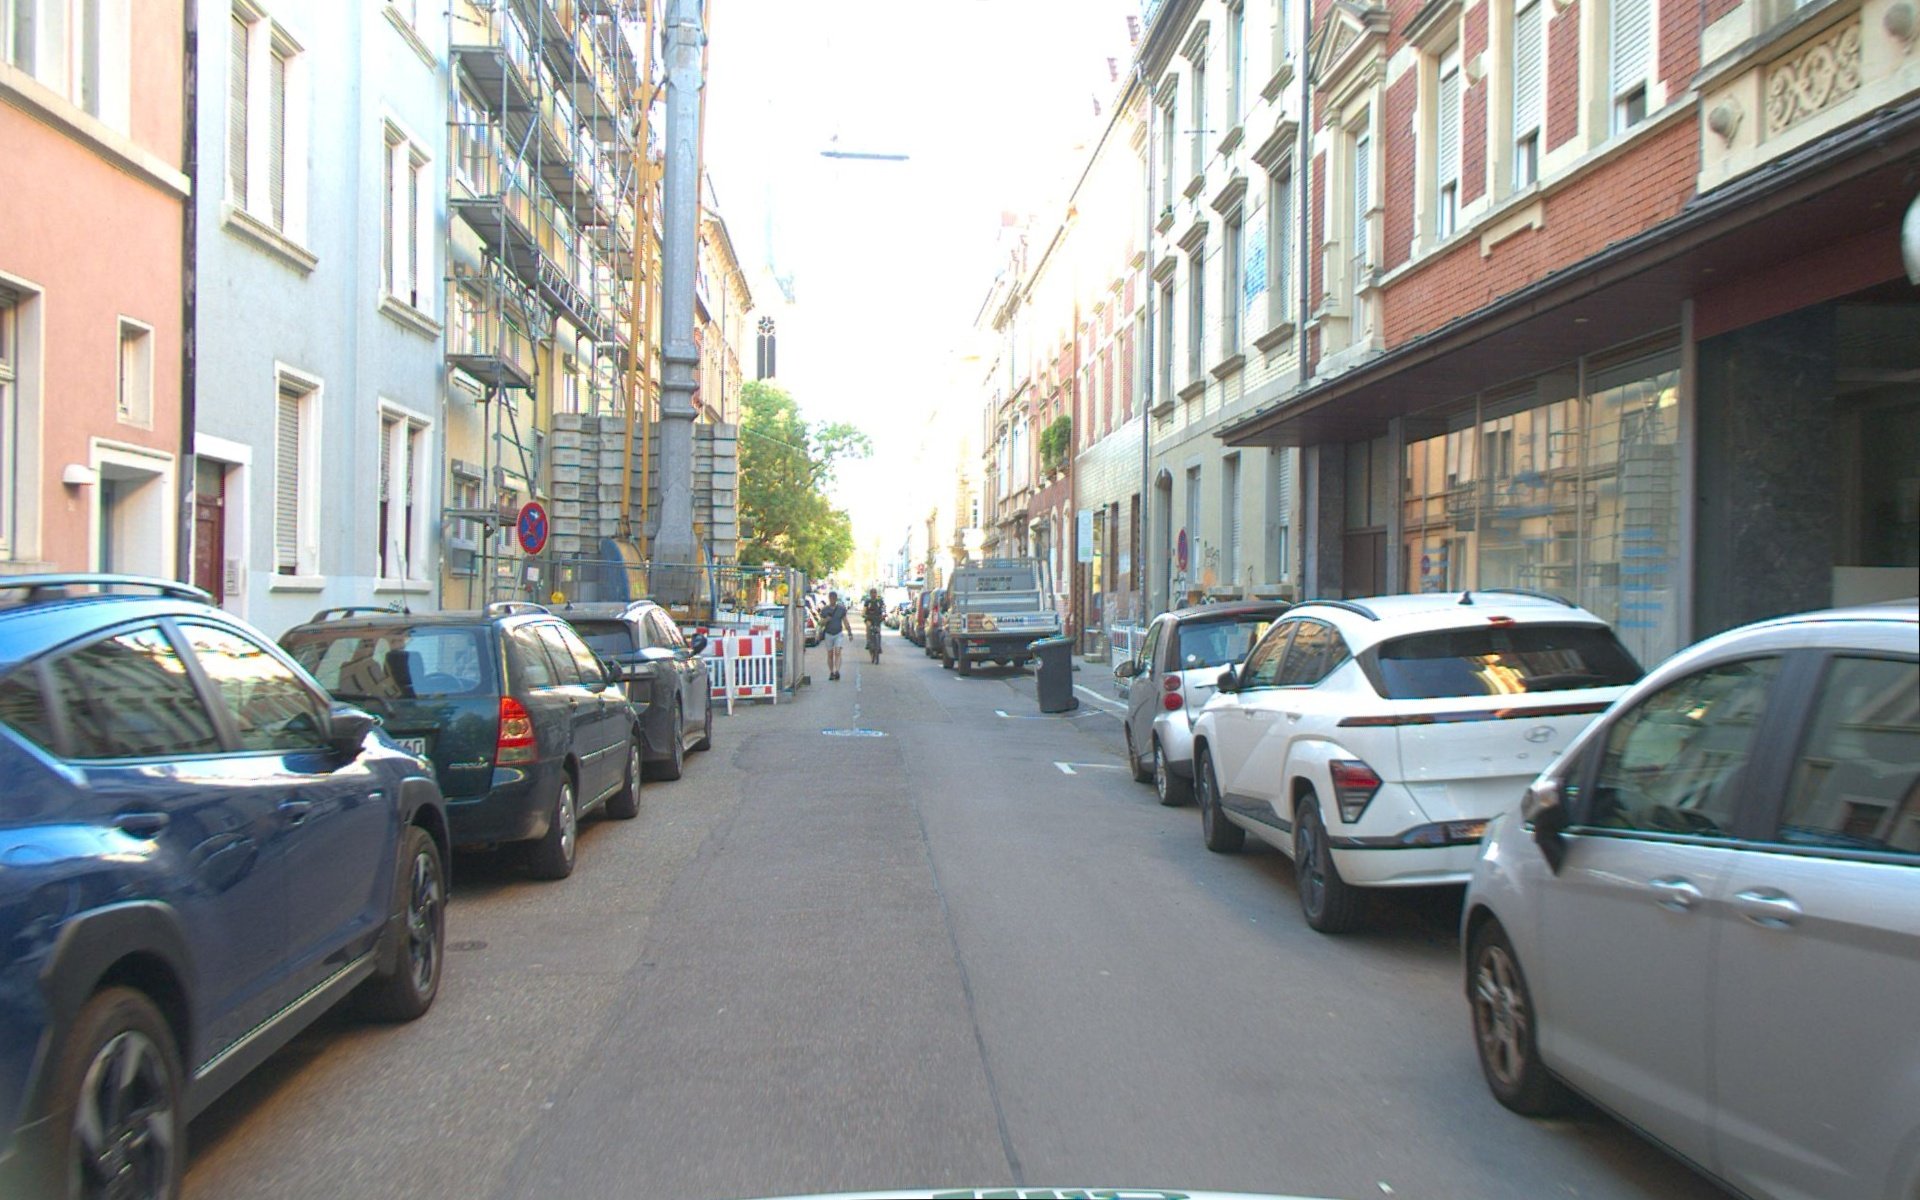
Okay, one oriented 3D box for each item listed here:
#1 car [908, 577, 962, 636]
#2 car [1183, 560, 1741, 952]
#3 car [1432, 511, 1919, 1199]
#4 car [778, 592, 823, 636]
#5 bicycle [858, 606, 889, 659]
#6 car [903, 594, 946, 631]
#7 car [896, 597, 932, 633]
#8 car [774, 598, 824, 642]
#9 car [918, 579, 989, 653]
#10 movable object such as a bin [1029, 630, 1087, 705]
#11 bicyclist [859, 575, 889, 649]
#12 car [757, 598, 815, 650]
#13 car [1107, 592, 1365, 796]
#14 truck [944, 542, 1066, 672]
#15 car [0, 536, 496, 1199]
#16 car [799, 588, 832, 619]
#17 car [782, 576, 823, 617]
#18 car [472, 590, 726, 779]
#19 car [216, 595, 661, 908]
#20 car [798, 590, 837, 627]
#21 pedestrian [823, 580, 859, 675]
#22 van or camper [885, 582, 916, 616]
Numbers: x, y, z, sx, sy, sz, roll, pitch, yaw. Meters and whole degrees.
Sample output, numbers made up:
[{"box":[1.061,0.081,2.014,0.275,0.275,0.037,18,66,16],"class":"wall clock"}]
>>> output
[{"box":[-0.940,0.236,59.667,1.642,2.067,3.864,0,0,-6],"class":"car"},{"box":[2.498,0.685,9.411,1.711,1.705,4.338,0,0,-2],"class":"car"},{"box":[2.547,0.689,3.913,1.607,1.685,3.867,1,0,-3],"class":"car"},{"box":[-6.002,0.512,62.208,1.642,1.598,3.864,0,0,-6],"class":"car"},{"box":[-2.134,0.792,40.945,0.710,1.207,2.041,1,1,-3],"class":"bicycle"},{"box":[-1.592,0.527,73.135,1.642,1.598,3.864,0,0,-6],"class":"car"},{"box":[-2.740,0.870,97.530,1.954,2.049,3.996,0,0,-5],"class":"car"},{"box":[-5.574,0.674,57.338,1.642,1.470,3.864,0,0,-6],"class":"car"},{"box":[-0.231,0.444,47.329,1.642,1.997,4.104,0,0,-6],"class":"car"},{"box":[1.447,0.989,24.434,0.779,1.074,0.659,0,0,-4],"class":"movable object such as a bin"},{"box":[-2.133,0.291,41.002,0.716,1.792,0.835,1,0,-3],"class":"bicyclist"},{"box":[-5.085,0.690,48.541,1.642,1.470,3.864,0,0,-6],"class":"car"},{"box":[2.323,0.729,14.797,1.564,1.587,3.812,0,0,-2],"class":"car"},{"box":[0.913,0.134,36.765,2.147,2.652,5.229,-1,0,-5],"class":"truck"},{"box":[-2.653,0.692,4.769,1.695,1.566,4.373,-1,0,-5],"class":"car"},{"box":[-8.782,0.205,100.800,1.954,1.881,3.996,-1,0,-5],"class":"car"},{"box":[-6.429,-0.134,67.475,1.642,1.598,3.864,0,0,-6],"class":"car"},{"box":[-3.213,0.680,15.545,1.641,1.503,4.604,0,0,-4],"class":"car"},{"box":[-2.975,0.754,10.399,1.642,1.538,4.411,0,0,-4],"class":"car"},{"box":[-6.277,0.383,72.682,1.642,1.598,3.864,0,0,-6],"class":"car"},{"box":[-2.273,0.518,31.617,0.644,1.763,0.719,-2,0,-4],"class":"pedestrian"},{"box":[-4.571,-0.054,126.089,1.956,2.552,4.195,-1,0,-8],"class":"van or camper"}]
